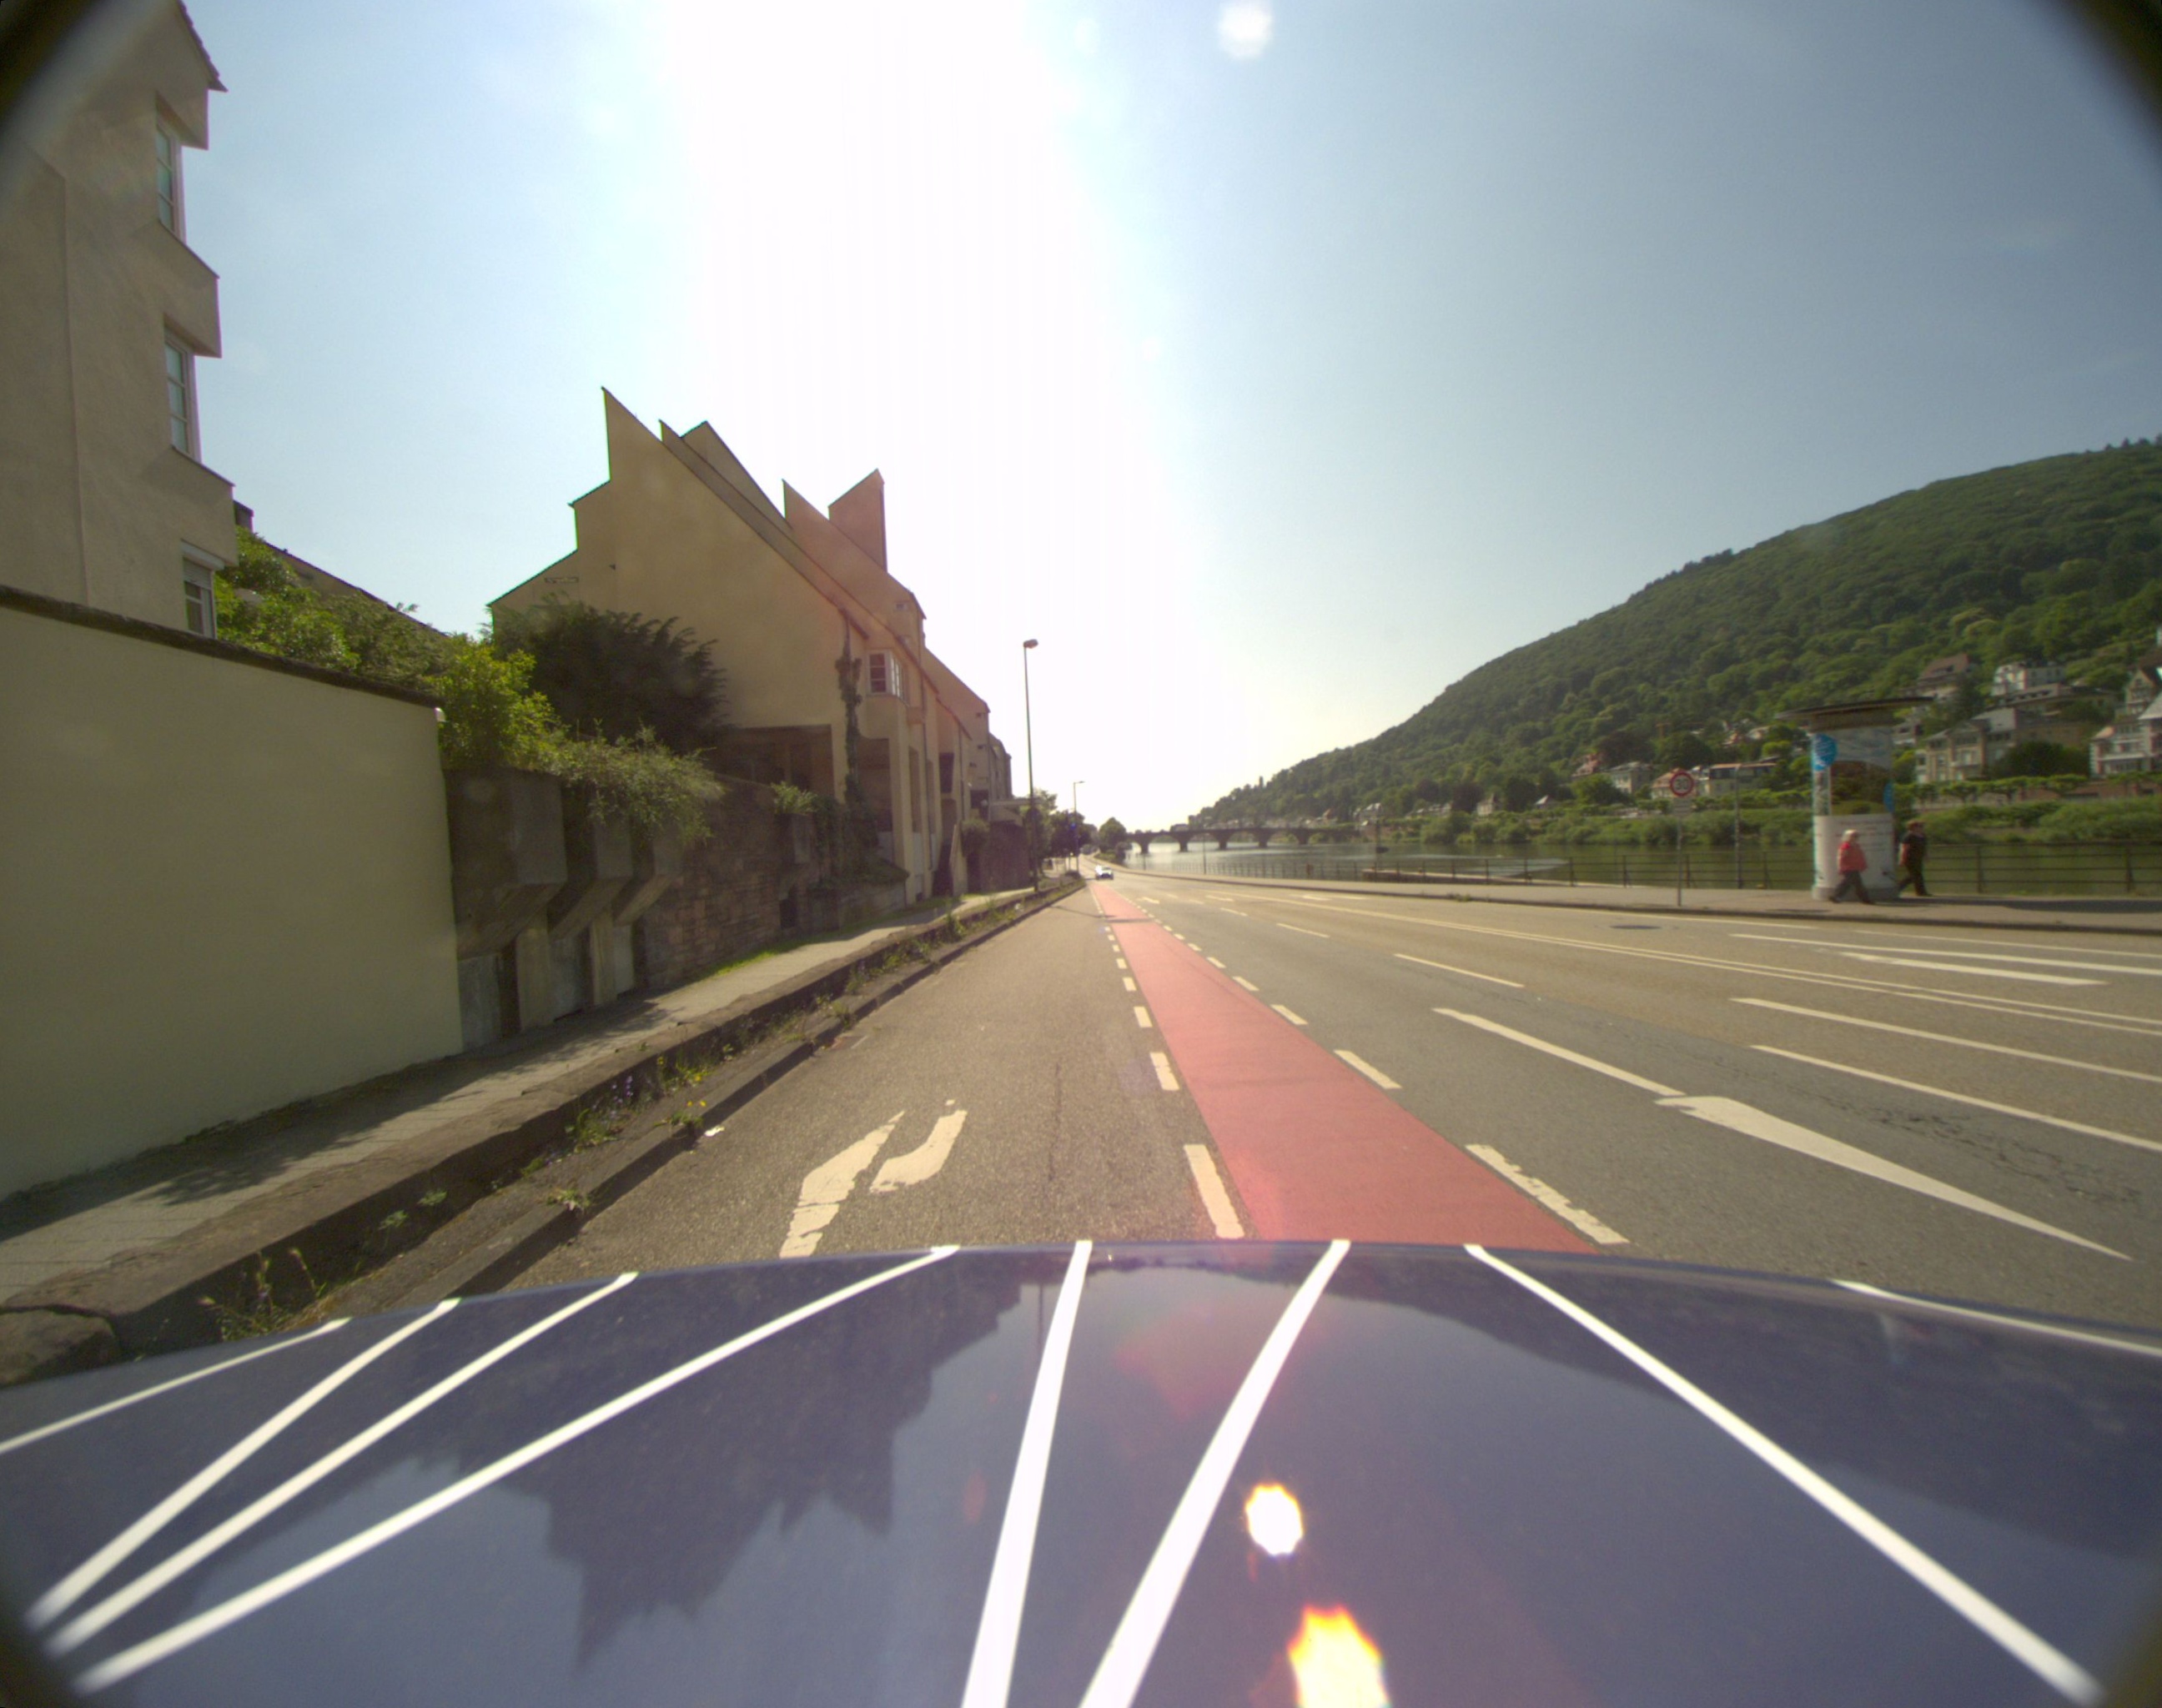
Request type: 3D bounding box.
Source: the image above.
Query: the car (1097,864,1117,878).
[{"bbox_3d":[2.708,1.756,79.381,1.998,1.433,4.001,-1,0,3],"label":"car"}]

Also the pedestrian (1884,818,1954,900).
[{"bbox_3d":[18.150,0.106,16.474,0.685,1.699,0.772,-2,1,-16],"label":"pedestrian"}]

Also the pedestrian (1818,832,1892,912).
[{"bbox_3d":[16.235,0.377,15.955,0.705,1.611,0.816,-2,1,-13],"label":"pedestrian"}]
